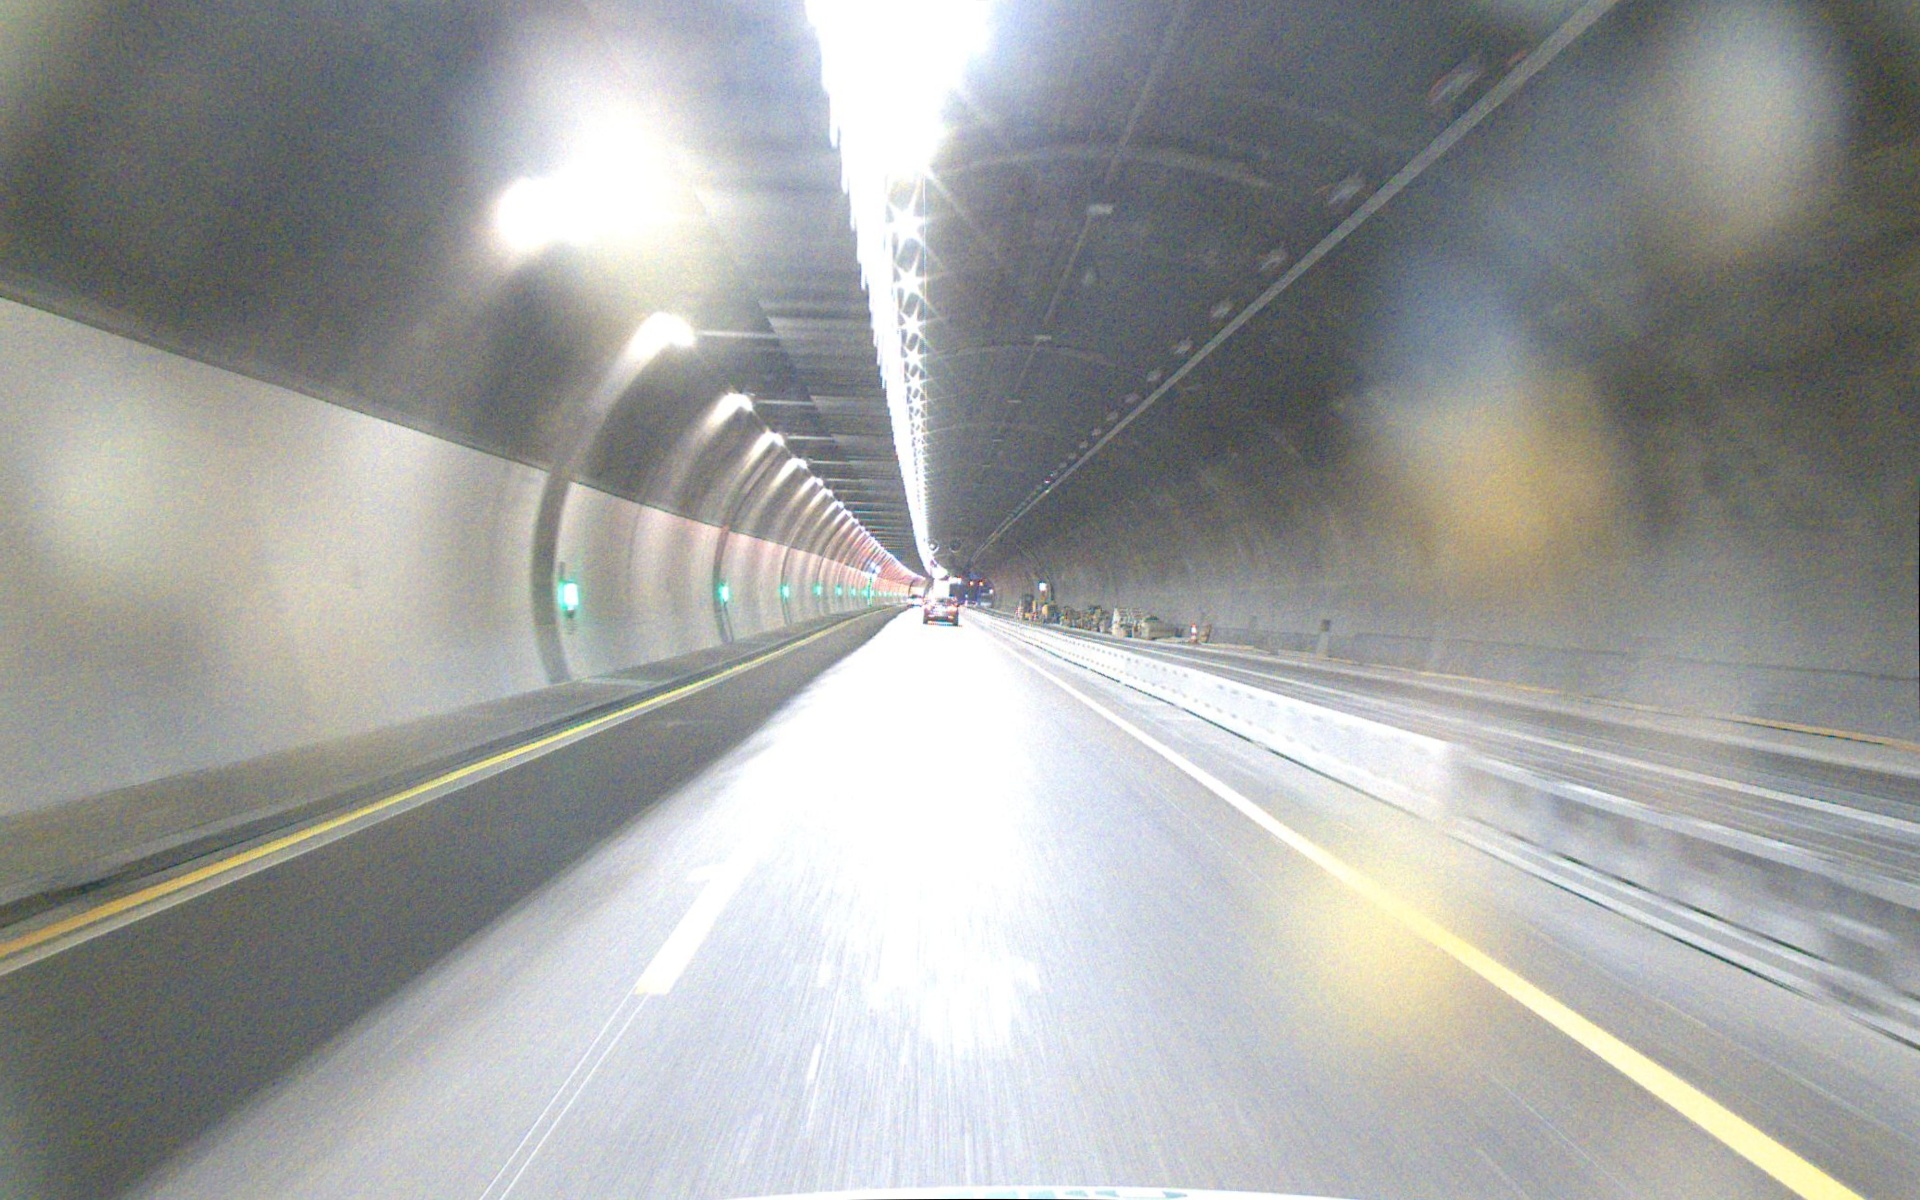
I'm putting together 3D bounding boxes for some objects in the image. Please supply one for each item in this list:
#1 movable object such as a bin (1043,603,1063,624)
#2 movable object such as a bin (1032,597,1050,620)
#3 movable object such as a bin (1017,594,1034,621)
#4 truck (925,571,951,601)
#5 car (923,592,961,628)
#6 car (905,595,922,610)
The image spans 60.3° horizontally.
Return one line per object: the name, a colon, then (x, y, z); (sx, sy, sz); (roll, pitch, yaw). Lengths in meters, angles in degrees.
movable object such as a bin: (6.846, 0.976, 121.878); (1.210, 1.467, 2.216); (3, 0, -2)
movable object such as a bin: (6.516, 0.696, 133.192); (1.210, 1.748, 2.216); (3, 0, -2)
movable object such as a bin: (5.507, 0.611, 140.048); (1.210, 2.178, 2.216); (3, 0, -2)
truck: (-3.614, -2.202, 266.335); (3.984, 4.612, 14.962); (1, 0, -1)
car: (-0.961, 0.503, 86.505); (1.907, 1.826, 3.998); (1, 0, -2)
car: (-5.535, 0.342, 196.167); (1.891, 1.716, 4.000); (1, 0, -1)
